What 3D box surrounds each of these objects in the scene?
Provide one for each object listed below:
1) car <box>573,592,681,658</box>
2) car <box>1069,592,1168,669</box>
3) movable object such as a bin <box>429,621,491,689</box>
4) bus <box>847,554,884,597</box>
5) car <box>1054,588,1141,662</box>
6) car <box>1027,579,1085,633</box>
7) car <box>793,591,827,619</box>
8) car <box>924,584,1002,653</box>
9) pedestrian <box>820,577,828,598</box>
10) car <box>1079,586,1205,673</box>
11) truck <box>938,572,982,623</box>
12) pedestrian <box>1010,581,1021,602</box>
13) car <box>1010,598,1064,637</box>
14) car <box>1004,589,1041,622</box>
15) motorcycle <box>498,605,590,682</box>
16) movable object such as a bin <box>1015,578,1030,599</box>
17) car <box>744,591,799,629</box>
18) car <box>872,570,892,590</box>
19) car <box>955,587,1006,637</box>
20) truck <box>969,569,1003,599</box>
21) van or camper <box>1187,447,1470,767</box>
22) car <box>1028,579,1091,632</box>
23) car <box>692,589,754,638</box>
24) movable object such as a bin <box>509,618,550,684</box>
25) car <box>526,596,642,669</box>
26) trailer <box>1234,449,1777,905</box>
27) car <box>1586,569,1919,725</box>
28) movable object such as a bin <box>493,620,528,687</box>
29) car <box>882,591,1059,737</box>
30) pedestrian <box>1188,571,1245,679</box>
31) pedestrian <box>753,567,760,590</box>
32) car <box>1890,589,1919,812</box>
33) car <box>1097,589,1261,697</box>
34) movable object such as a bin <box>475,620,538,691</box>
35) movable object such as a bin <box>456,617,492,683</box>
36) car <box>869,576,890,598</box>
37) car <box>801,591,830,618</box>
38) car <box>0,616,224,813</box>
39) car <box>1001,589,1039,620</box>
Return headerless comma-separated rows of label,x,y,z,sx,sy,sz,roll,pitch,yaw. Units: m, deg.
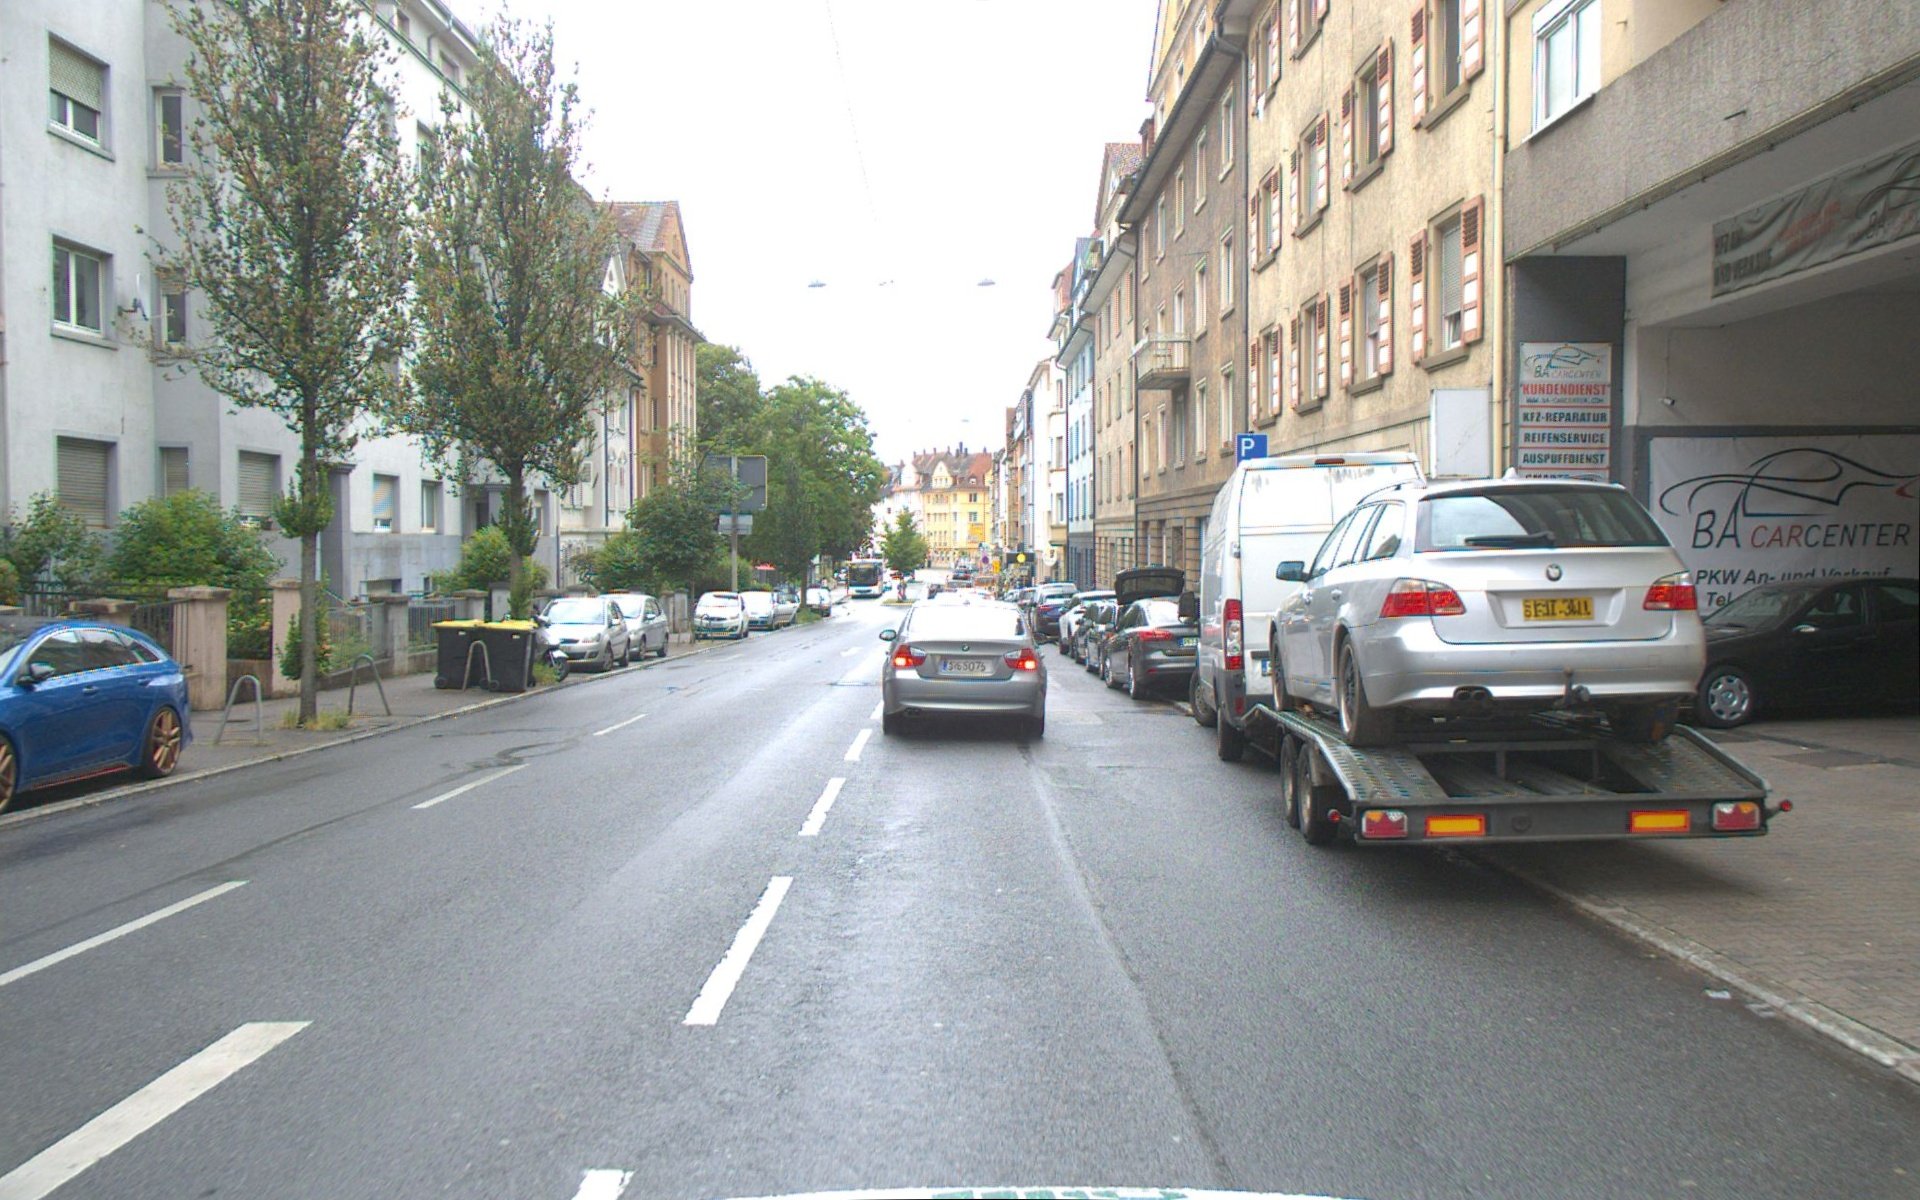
car,-7.836,0.582,39.284,1.567,1.476,3.889,1,-1,3
car,3.388,0.630,36.021,1.599,1.504,3.733,3,0,-2
movable object such as a bin,-8.134,0.888,26.917,0.808,1.076,0.483,2,-1,0
bus,-8.152,-2.046,143.998,2.627,3.256,11.951,3,-1,-1
car,3.384,0.588,41.343,1.599,1.667,4.193,3,0,-2
car,3.421,0.198,59.286,1.754,1.849,4.079,-1,0,-1
car,-8.172,0.243,90.359,1.620,1.479,3.941,0,0,-2
car,0.033,0.419,38.282,1.570,1.445,3.286,3,-1,-3
pedestrian,-11.385,-1.063,138.384,0.532,1.739,0.465,3,-1,-7
car,3.347,0.527,31.129,1.742,1.505,4.586,0,0,-2
truck,-0.031,-0.117,89.570,2.172,2.588,4.778,3,-1,-1
pedestrian,4.662,-0.685,138.958,0.734,1.690,0.755,3,-1,4
car,3.027,0.680,66.095,1.803,1.434,4.386,-2,0,-2
car,2.954,0.251,79.158,1.551,1.454,3.594,-2,0,-1
motorcycle,-7.468,0.761,29.660,1.778,1.338,0.738,0,0,41
movable object such as a bin,5.185,-0.926,138.009,1.100,1.732,1.433,0,-1,-3
car,-7.365,0.370,64.922,1.648,1.414,3.909,1,0,0
car,-8.470,-2.149,179.836,1.953,2.049,3.998,3,-1,-2
car,0.616,0.376,49.755,1.406,1.380,3.762,3,-1,1
truck,2.029,-1.220,130.819,2.172,2.153,4.648,4,0,-4
van or camper,3.607,0.039,17.449,2.138,2.746,6.424,0,0,6
car,3.141,0.157,53.001,1.754,1.575,4.225,-1,0,0
car,-7.824,0.457,54.837,1.613,1.534,3.795,1,-1,-2
movable object such as a bin,-7.323,0.865,28.159,0.513,1.076,0.483,3,-1,1
car,-7.719,0.653,34.265,1.568,1.421,3.886,1,-1,-1
trailer,3.102,0.328,10.677,1.952,2.189,5.074,-2,1,2
car,8.825,0.451,17.599,3.581,1.415,1.896,-2,2,-6
movable object such as a bin,-7.426,0.882,27.331,0.462,1.076,0.482,3,-1,-10
car,0.091,0.653,17.992,1.720,1.386,3.164,2,-1,-1
pedestrian,4.413,0.424,28.463,0.698,1.818,0.685,-2,-1,34
pedestrian,-16.205,-1.700,131.729,0.456,1.821,0.544,3,-1,-7
car,8.036,0.584,10.010,3.905,1.416,1.558,-2,0,1
car,3.268,0.619,25.389,1.742,1.505,4.187,0,0,-3
movable object such as a bin,-7.271,0.885,26.541,0.808,1.076,0.483,3,-1,0
movable object such as a bin,-8.186,0.835,27.881,0.462,1.076,0.482,3,-1,-10
car,-8.066,-1.295,165.481,1.953,2.049,3.998,3,-1,-2
car,-8.275,0.227,95.035,1.599,1.479,3.836,1,0,-4
car,-7.692,0.833,13.155,1.644,1.410,4.602,0,-1,-1
car,3.149,0.218,87.216,1.780,1.585,4.293,-1,0,0
